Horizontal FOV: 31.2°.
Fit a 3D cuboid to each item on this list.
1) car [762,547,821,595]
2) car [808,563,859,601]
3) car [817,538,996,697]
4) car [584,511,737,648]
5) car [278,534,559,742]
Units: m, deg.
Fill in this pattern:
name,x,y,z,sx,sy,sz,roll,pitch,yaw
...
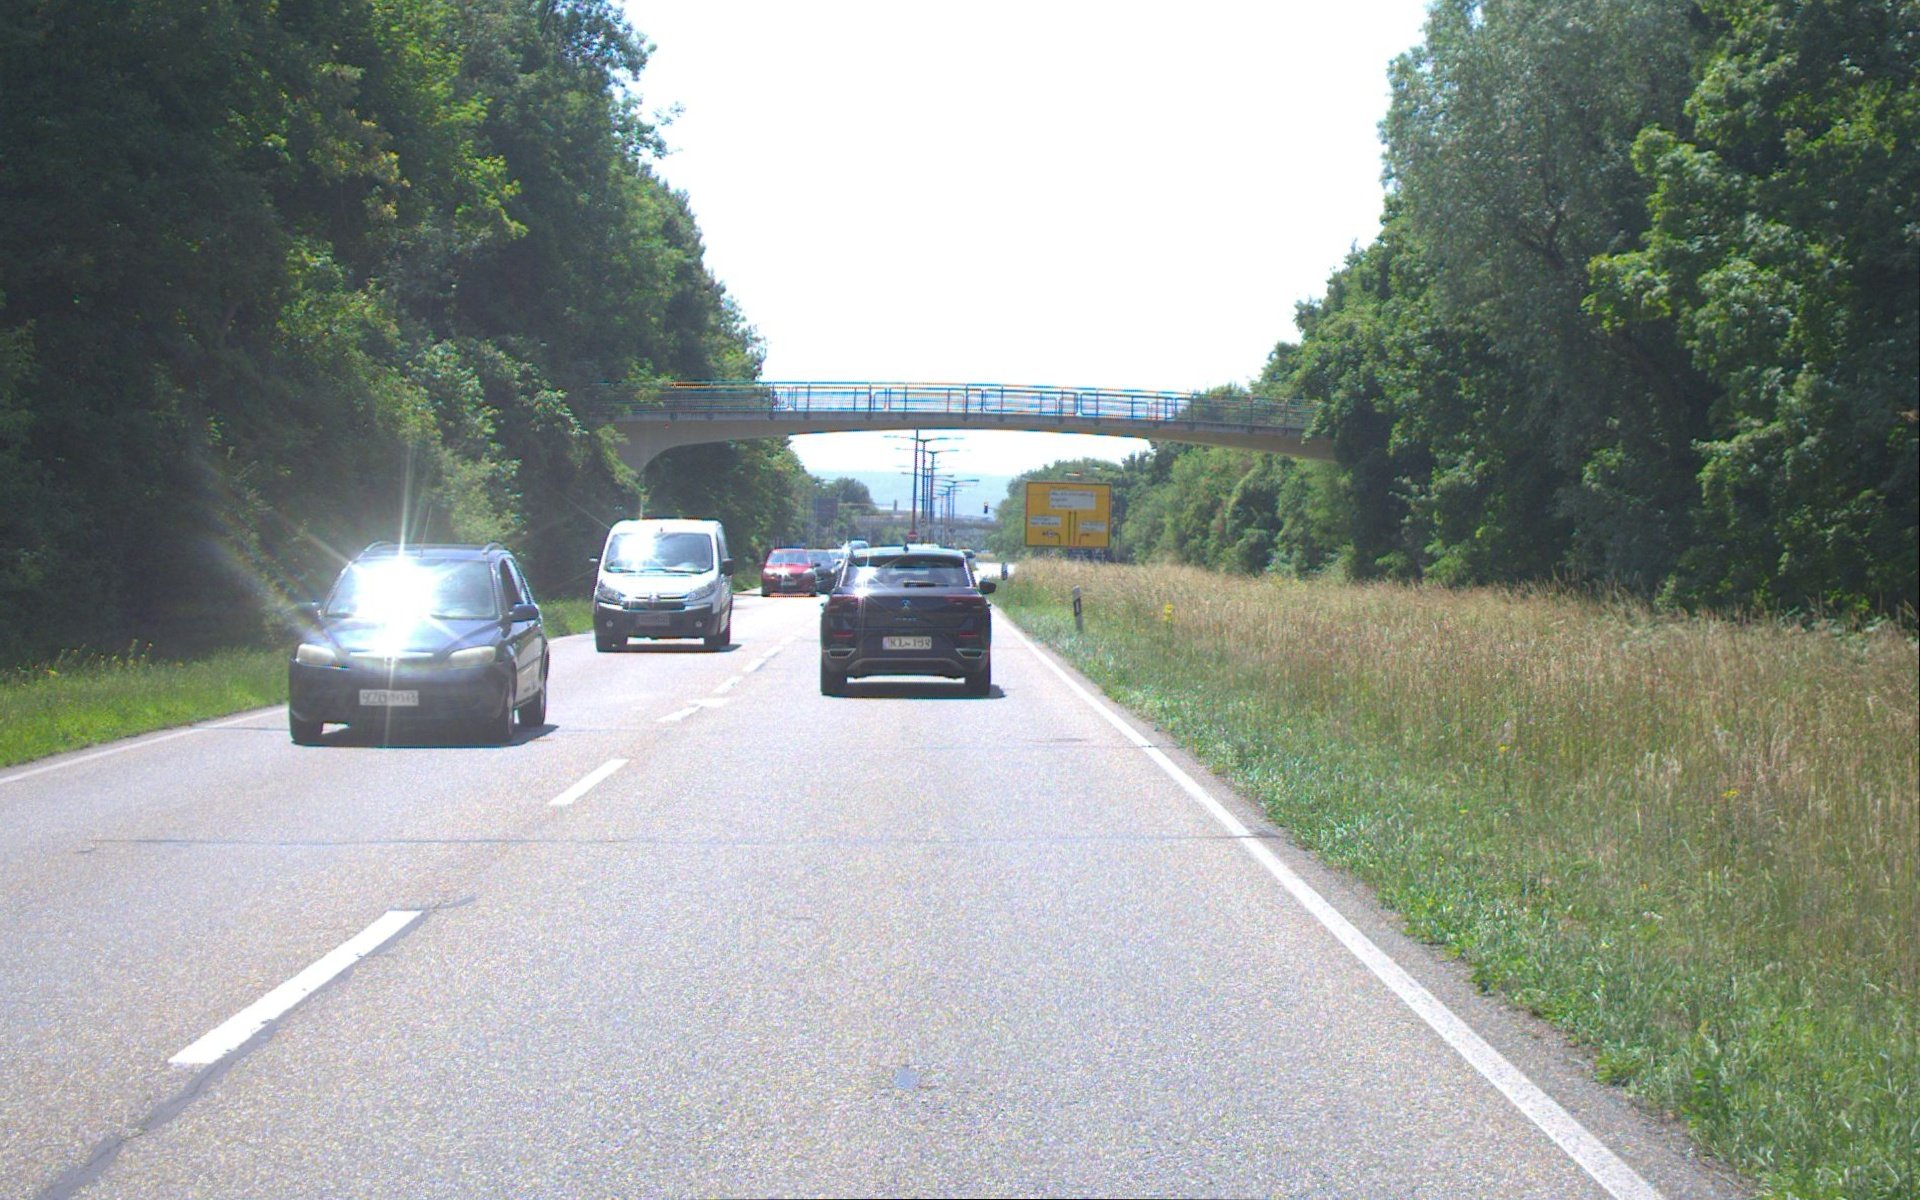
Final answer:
name,x,y,z,sx,sy,sz,roll,pitch,yaw
car,-5.278,-0.932,108.029,1.682,1.488,4.000,0,1,-1
car,-4.915,-0.712,134.304,1.784,1.444,4.109,0,1,1
car,-0.610,0.160,36.580,1.755,1.551,4.000,2,0,-2
car,-4.422,-0.315,51.383,1.875,1.922,4.987,1,1,-1
car,-4.238,0.262,27.427,1.672,1.513,4.000,1,1,-1
